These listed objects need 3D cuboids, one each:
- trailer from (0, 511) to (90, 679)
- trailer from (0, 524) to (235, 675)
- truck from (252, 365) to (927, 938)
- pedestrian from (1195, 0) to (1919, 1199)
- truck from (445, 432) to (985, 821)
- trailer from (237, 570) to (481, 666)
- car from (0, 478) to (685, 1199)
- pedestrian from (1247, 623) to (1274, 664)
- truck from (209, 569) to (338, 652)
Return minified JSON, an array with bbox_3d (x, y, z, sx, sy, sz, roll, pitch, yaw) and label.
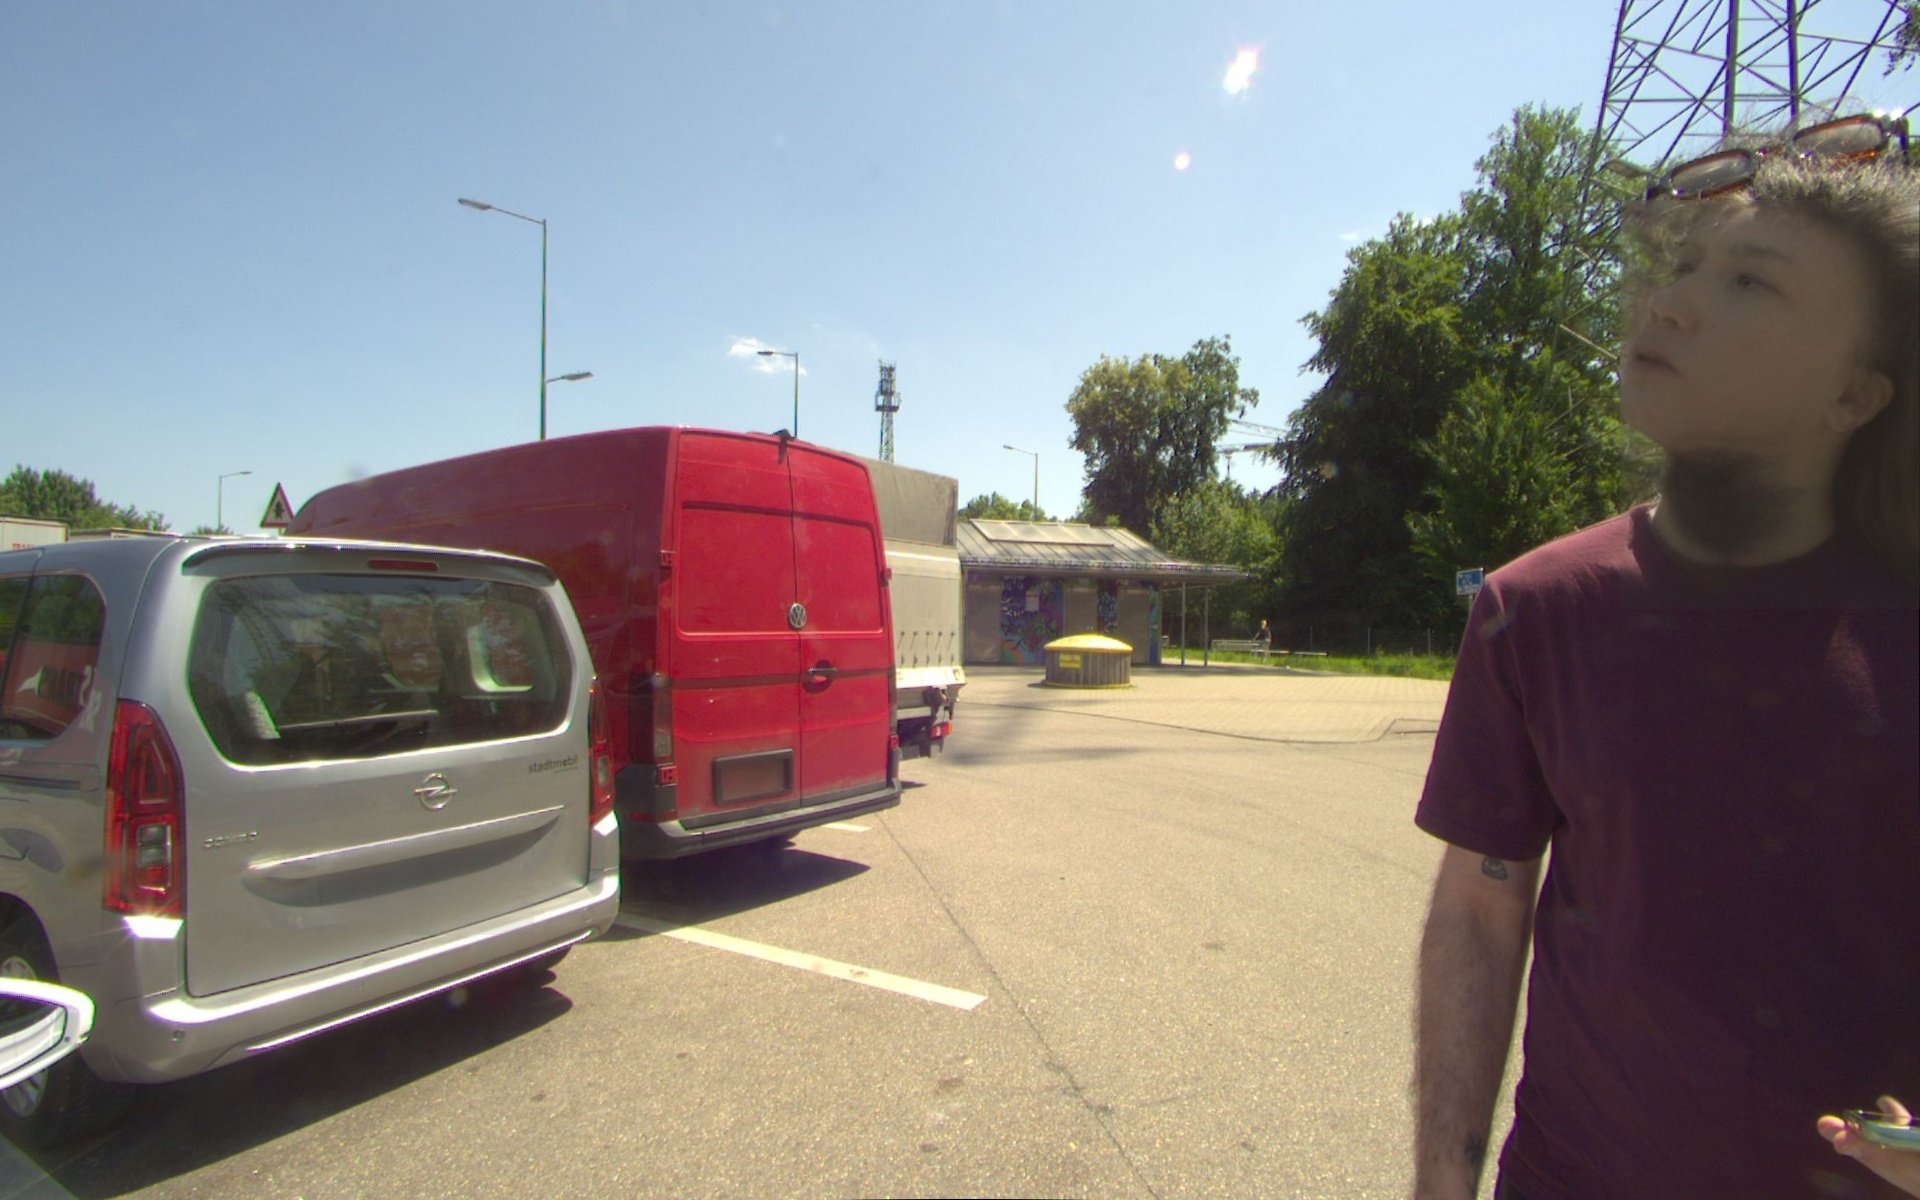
[{"bbox_3d":[-28.993,-0.264,28.130,14.184,4.040,2.808,2,-2,33],"label":"trailer"},{"bbox_3d":[-27.929,-0.107,31.776,14.184,4.040,2.808,2,-2,33],"label":"trailer"},{"bbox_3d":[-2.868,0.332,7.034,5.238,2.655,1.972,-2,-2,38],"label":"truck"},{"bbox_3d":[0.720,0.548,0.786,0.848,1.857,0.861,-1,-1,28],"label":"pedestrian"},{"bbox_3d":[-2.717,0.299,10.273,5.582,2.949,2.449,-2,-2,37],"label":"truck"},{"bbox_3d":[-26.074,0.639,42.891,14.184,3.552,2.808,2,-2,33],"label":"trailer"},{"bbox_3d":[-3.361,0.682,4.234,4.113,1.887,1.868,1,-2,31],"label":"car"},{"bbox_3d":[12.376,1.802,41.232,0.784,1.658,0.731,1,-2,-40],"label":"pedestrian"},{"bbox_3d":[-32.068,0.460,46.749,5.813,3.566,2.799,2,-2,33],"label":"truck"}]
